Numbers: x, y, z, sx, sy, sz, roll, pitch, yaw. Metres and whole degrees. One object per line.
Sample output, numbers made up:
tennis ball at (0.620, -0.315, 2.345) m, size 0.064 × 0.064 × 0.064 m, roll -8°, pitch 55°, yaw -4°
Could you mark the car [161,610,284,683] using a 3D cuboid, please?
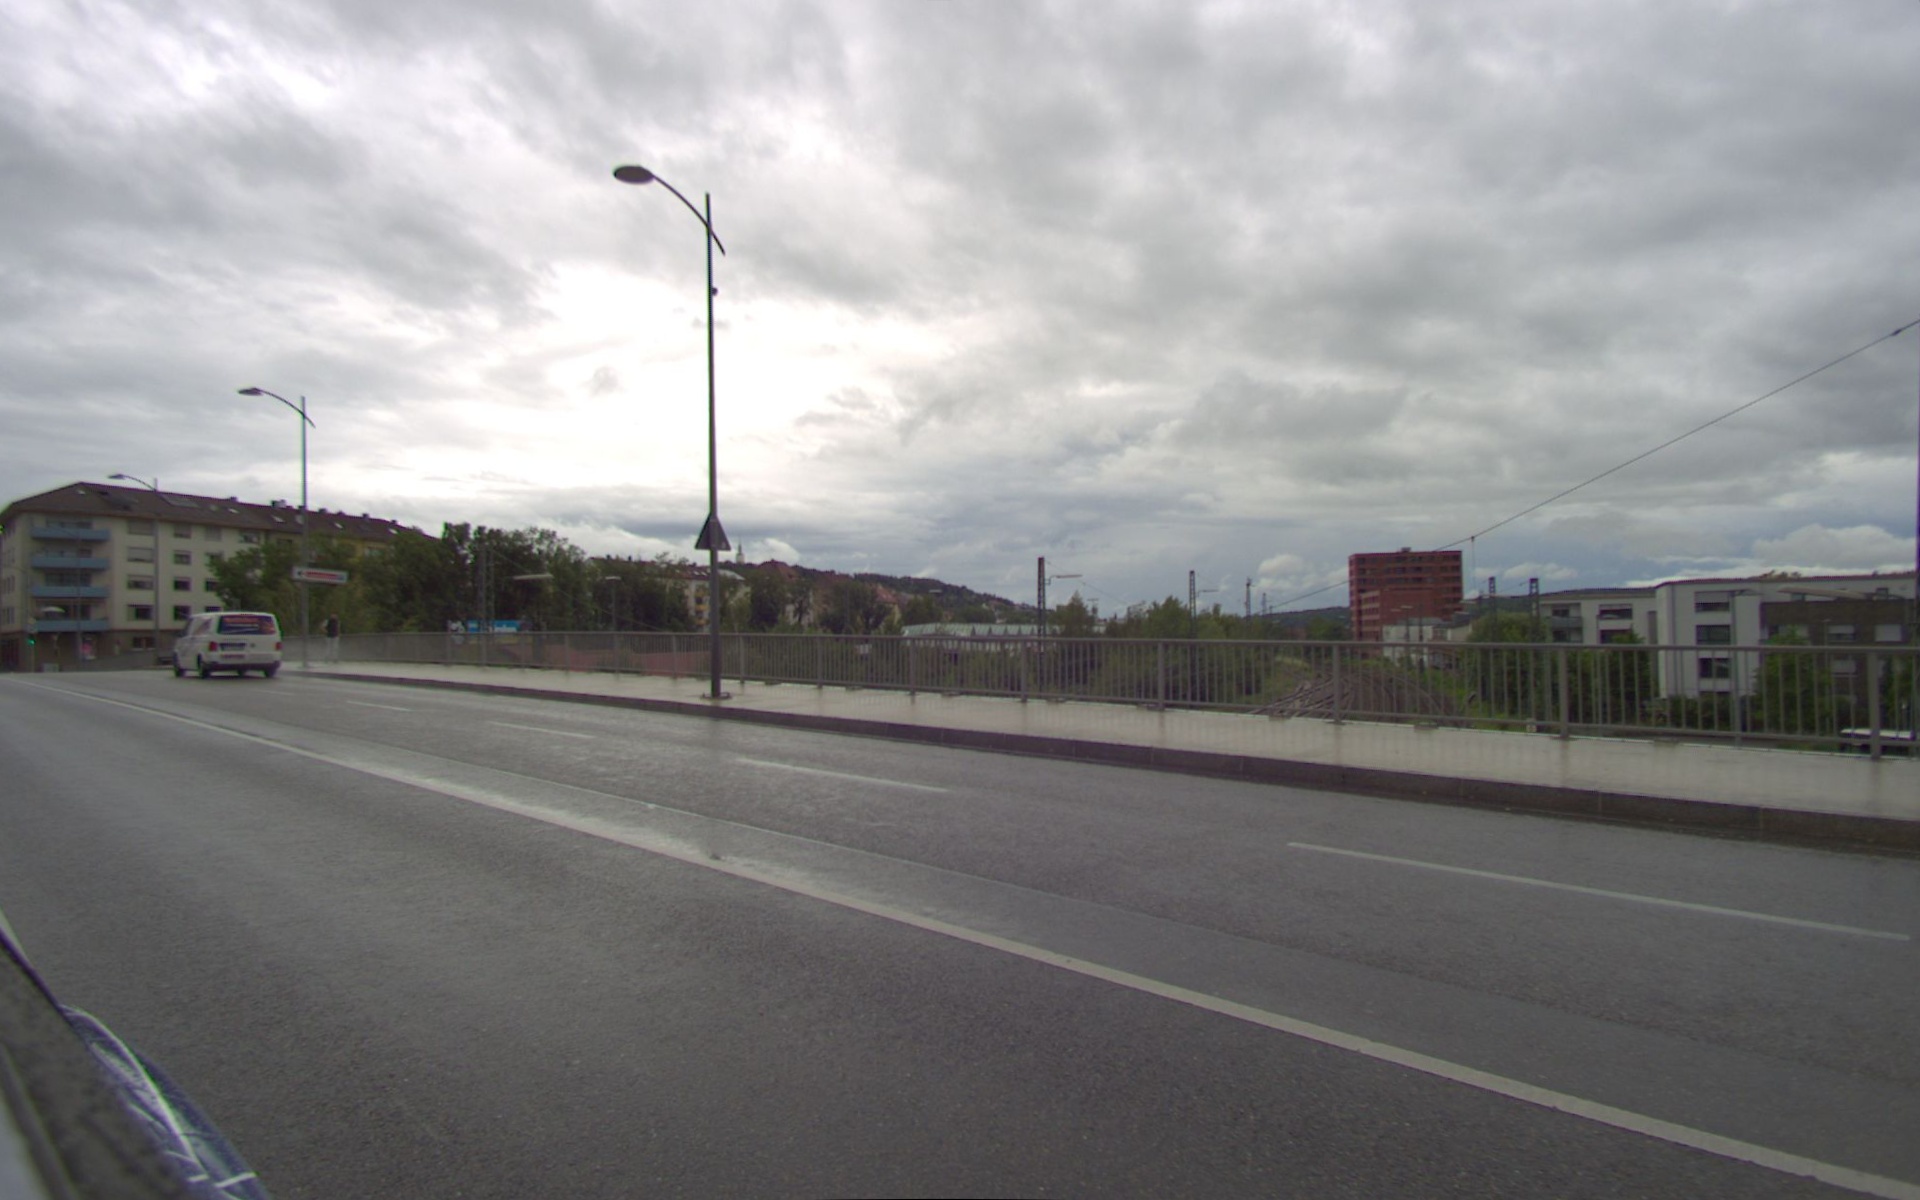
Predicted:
car at (-22.361, 1.334, 30.591) m, size 4.957 × 1.835 × 1.867 m, roll -1°, pitch 5°, yaw 42°
